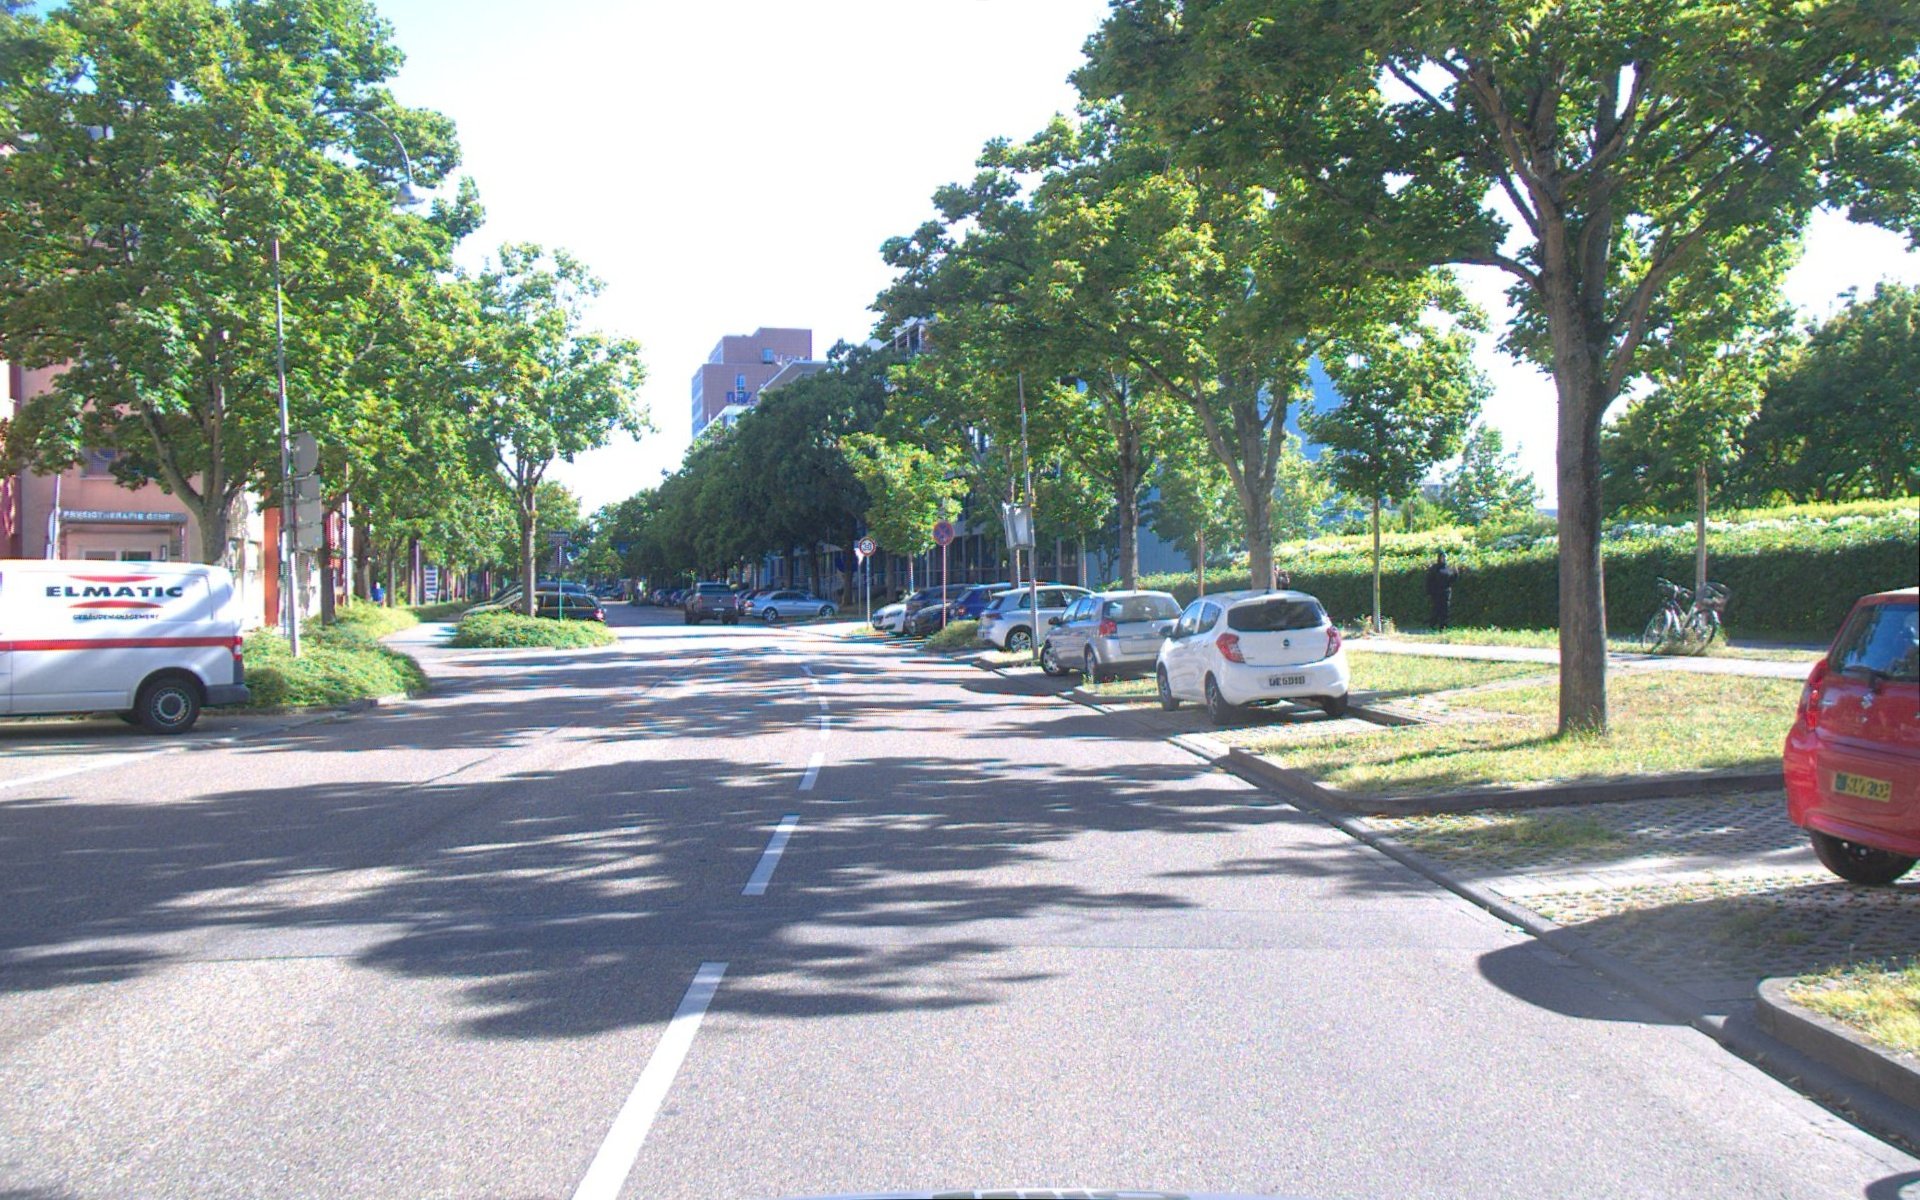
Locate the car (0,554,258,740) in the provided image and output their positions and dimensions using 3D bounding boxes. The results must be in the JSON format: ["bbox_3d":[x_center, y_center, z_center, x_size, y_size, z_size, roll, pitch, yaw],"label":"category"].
[{"bbox_3d":[-10.793,0.489,18.952,4.724,2.020,1.972,0,1,-39],"label":"car"}]

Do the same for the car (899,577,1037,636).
[{"bbox_3d":[0.217,0.189,49.841,3.811,1.541,1.744,-3,0,-14],"label":"car"}]

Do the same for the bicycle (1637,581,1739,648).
[{"bbox_3d":[10.097,0.201,22.982,0.342,0.881,1.397,-2,0,-26],"label":"bicycle"}]

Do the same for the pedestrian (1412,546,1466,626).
[{"bbox_3d":[9.780,-0.287,33.782,0.711,1.615,0.850,-1,0,-13],"label":"pedestrian"}]

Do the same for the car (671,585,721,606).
[{"bbox_3d":[-21.598,-0.400,135.153,3.882,1.541,1.806,-2,1,-14],"label":"car"}]

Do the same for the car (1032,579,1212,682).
[{"bbox_3d":[2.680,0.470,28.495,1.777,1.519,4.611,-3,1,-11],"label":"car"}]

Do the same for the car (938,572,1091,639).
[{"bbox_3d":[1.458,0.140,44.707,3.740,1.473,1.739,-5,1,-13],"label":"car"}]

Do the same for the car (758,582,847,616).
[{"bbox_3d":[-8.226,-0.058,86.335,4.434,1.569,1.917,-2,1,-11],"label":"car"}]

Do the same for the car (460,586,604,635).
[{"bbox_3d":[-13.292,0.321,51.579,4.186,1.448,1.735,1,0,-11],"label":"car"}]

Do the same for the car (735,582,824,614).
[{"bbox_3d":[-9.762,-0.117,89.566,4.447,1.569,1.912,-2,1,-19],"label":"car"}]

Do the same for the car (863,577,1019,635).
[{"bbox_3d":[-0.599,0.189,52.269,4.484,1.541,1.970,-3,0,-21],"label":"car"}]

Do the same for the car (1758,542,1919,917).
[{"bbox_3d":[5.698,0.441,7.439,3.365,1.571,1.627,-4,0,-1],"label":"car"}]

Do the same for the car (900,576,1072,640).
[{"bbox_3d":[0.713,0.208,47.343,4.473,1.541,2.150,-3,0,-14],"label":"car"}]

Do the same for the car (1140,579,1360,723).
[{"bbox_3d":[3.477,0.559,20.469,1.612,1.519,3.760,-3,1,-7],"label":"car"}]

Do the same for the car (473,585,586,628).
[{"bbox_3d":[-15.300,0.237,58.945,3.826,1.448,1.733,1,0,-15],"label":"car"}]

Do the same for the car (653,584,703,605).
[{"bbox_3d":[-25.378,-0.523,148.818,4.283,1.733,1.804,-2,1,-18],"label":"car"}]

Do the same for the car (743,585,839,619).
[{"bbox_3d":[-8.319,0.084,81.388,4.501,1.501,1.740,-3,1,-14],"label":"car"}]

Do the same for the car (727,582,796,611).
[{"bbox_3d":[-11.488,-0.202,95.816,3.690,1.519,1.607,-2,1,-21],"label":"car"}]

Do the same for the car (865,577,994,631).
[{"bbox_3d":[-1.015,0.138,54.849,3.891,1.541,1.691,-3,0,-21],"label":"car"}]

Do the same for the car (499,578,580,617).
[{"bbox_3d":[-24.091,-0.154,94.942,4.410,2.126,2.076,1,0,-13],"label":"car"}]

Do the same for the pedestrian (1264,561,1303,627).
[{"bbox_3d":[7.874,-0.145,40.288,0.596,1.569,0.934,-1,0,-12],"label":"pedestrian"}]

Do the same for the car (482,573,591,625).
[{"bbox_3d":[-15.656,-0.036,61.235,3.826,1.843,1.779,1,0,-15],"label":"car"}]

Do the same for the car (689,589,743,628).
[{"bbox_3d":[-10.826,0.357,73.237,1.960,1.668,3.985,1,0,-14],"label":"car"}]

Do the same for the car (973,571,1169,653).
[{"bbox_3d":[2.437,0.255,36.742,4.013,1.454,1.640,-5,1,-8],"label":"car"}]
